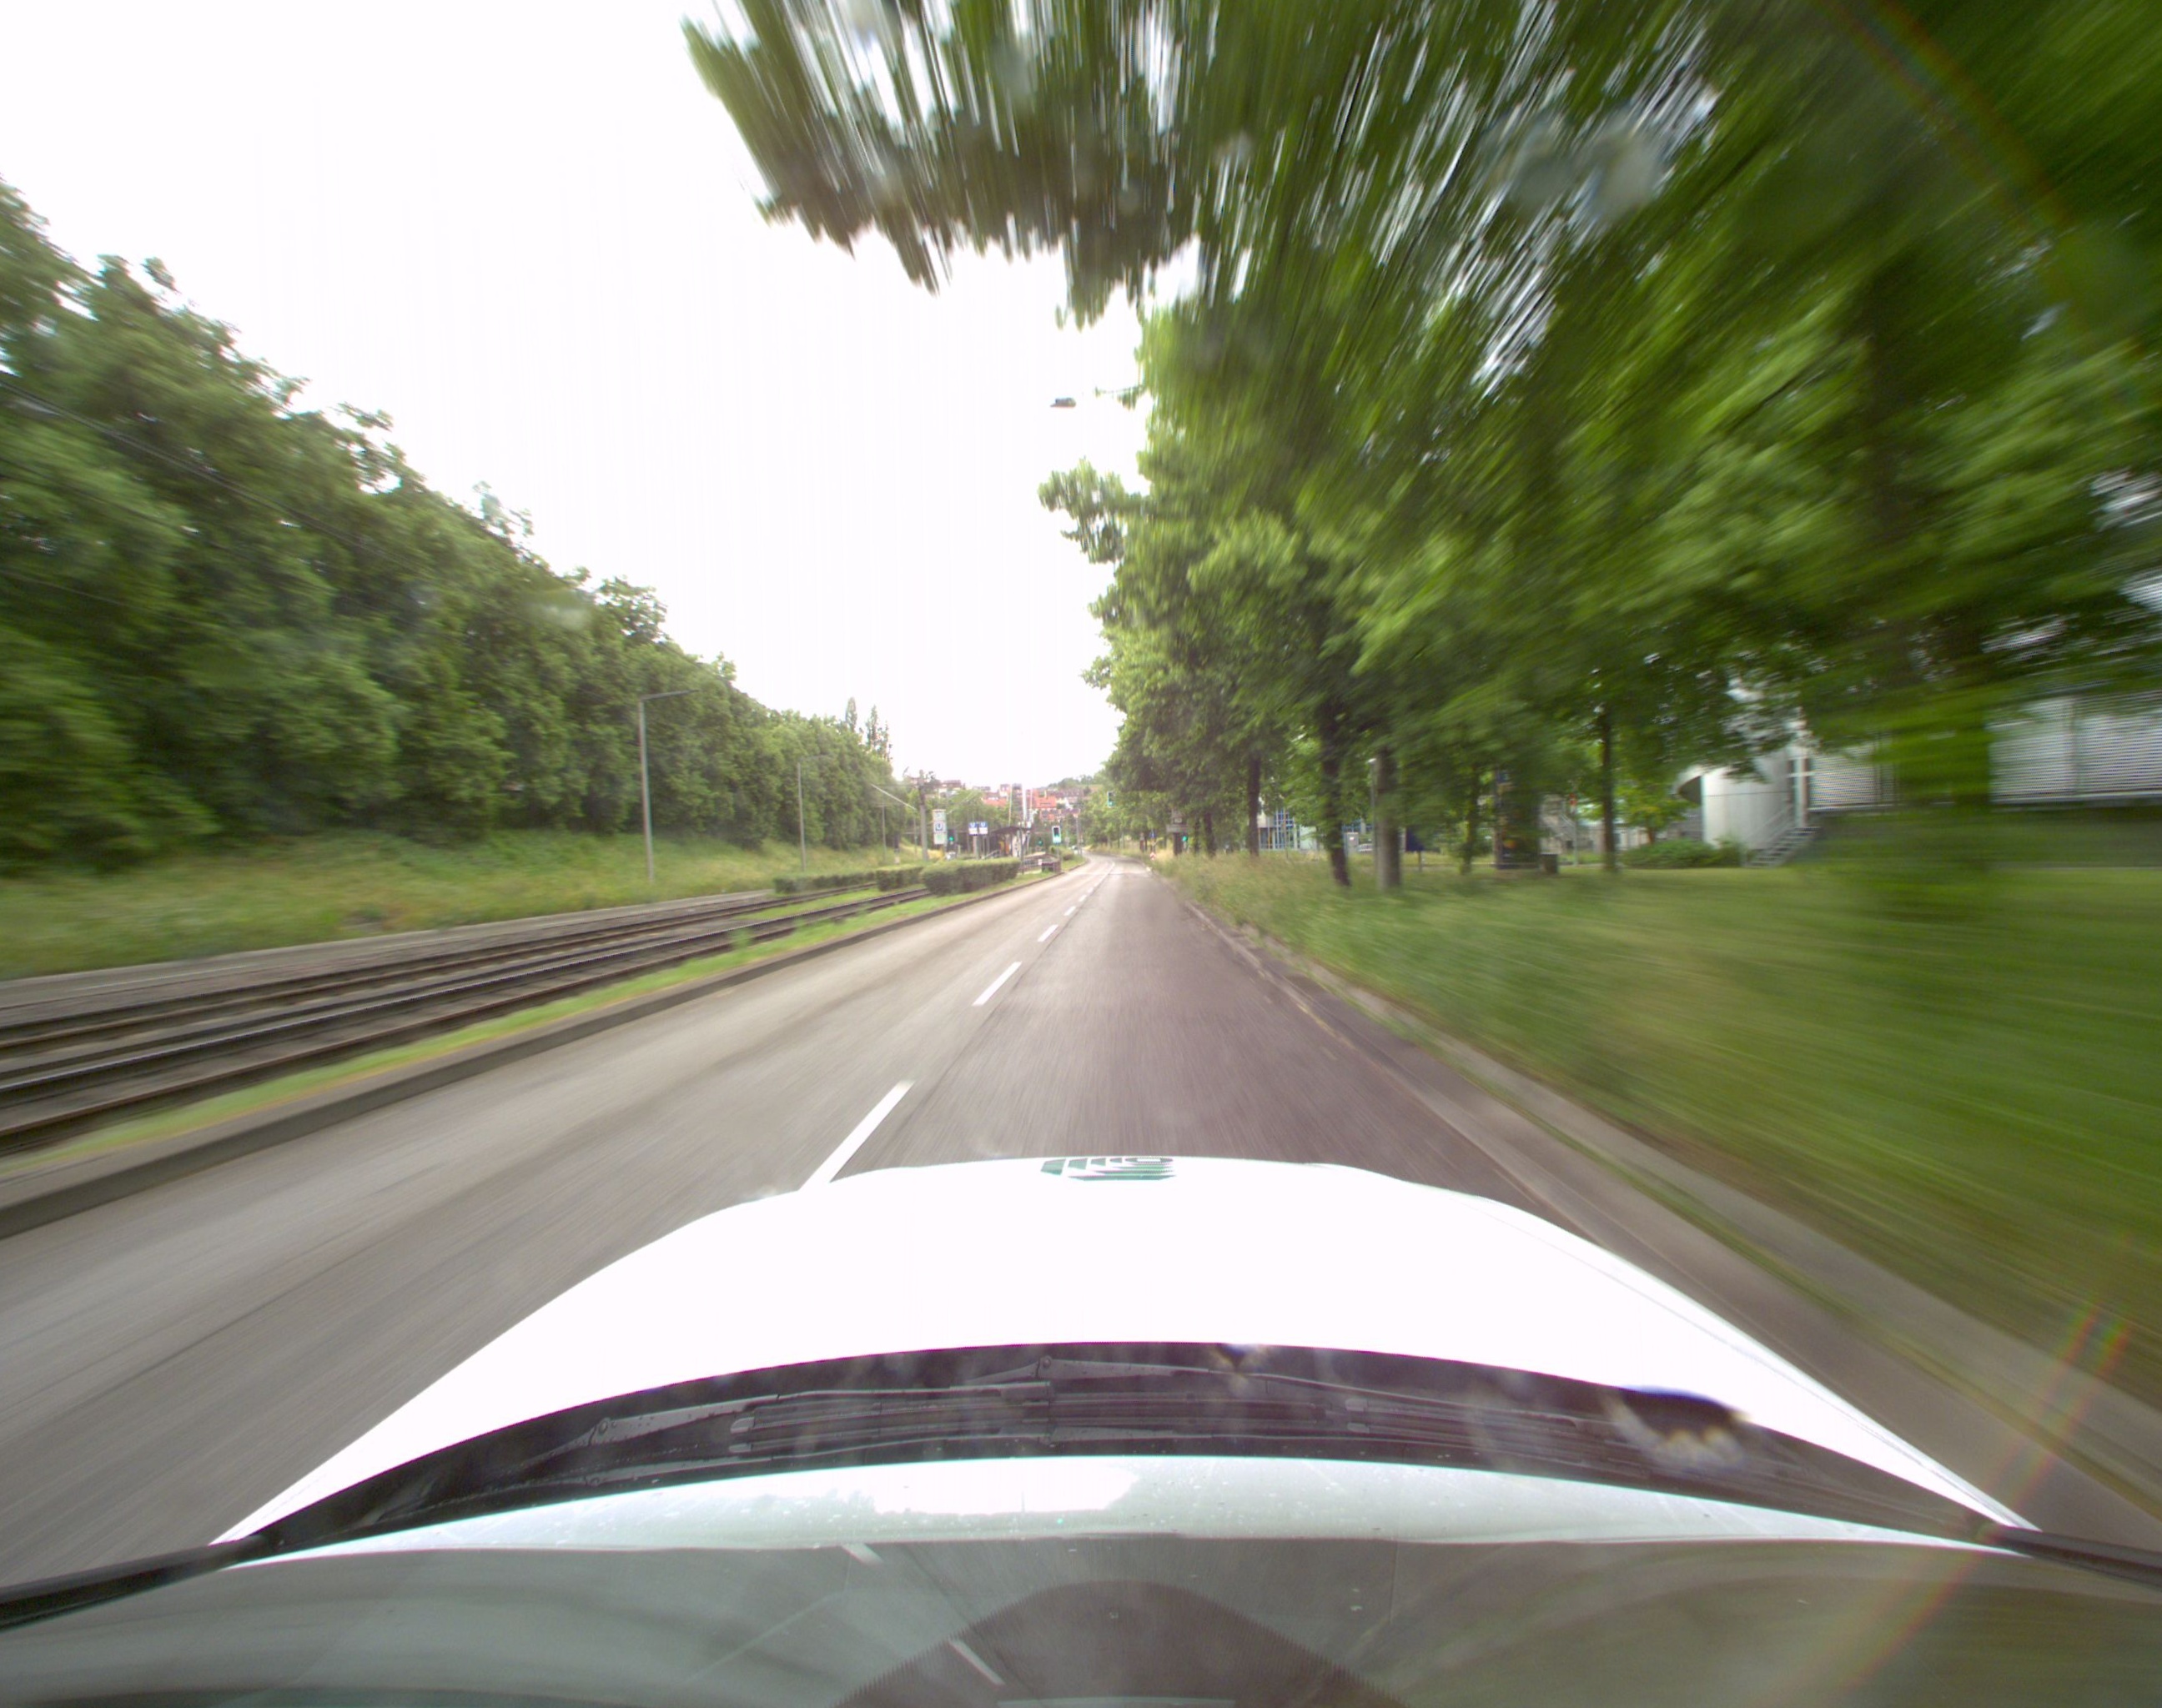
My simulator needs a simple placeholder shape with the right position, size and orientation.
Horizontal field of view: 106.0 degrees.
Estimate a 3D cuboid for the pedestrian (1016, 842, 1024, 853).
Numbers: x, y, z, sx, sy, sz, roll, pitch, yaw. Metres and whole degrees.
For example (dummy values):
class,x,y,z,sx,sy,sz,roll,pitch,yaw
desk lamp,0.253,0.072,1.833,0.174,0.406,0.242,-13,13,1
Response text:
class,x,y,z,sx,sy,sz,roll,pitch,yaw
pedestrian,-8.843,-0.965,118.330,0.932,1.611,1.026,-2,1,-1
